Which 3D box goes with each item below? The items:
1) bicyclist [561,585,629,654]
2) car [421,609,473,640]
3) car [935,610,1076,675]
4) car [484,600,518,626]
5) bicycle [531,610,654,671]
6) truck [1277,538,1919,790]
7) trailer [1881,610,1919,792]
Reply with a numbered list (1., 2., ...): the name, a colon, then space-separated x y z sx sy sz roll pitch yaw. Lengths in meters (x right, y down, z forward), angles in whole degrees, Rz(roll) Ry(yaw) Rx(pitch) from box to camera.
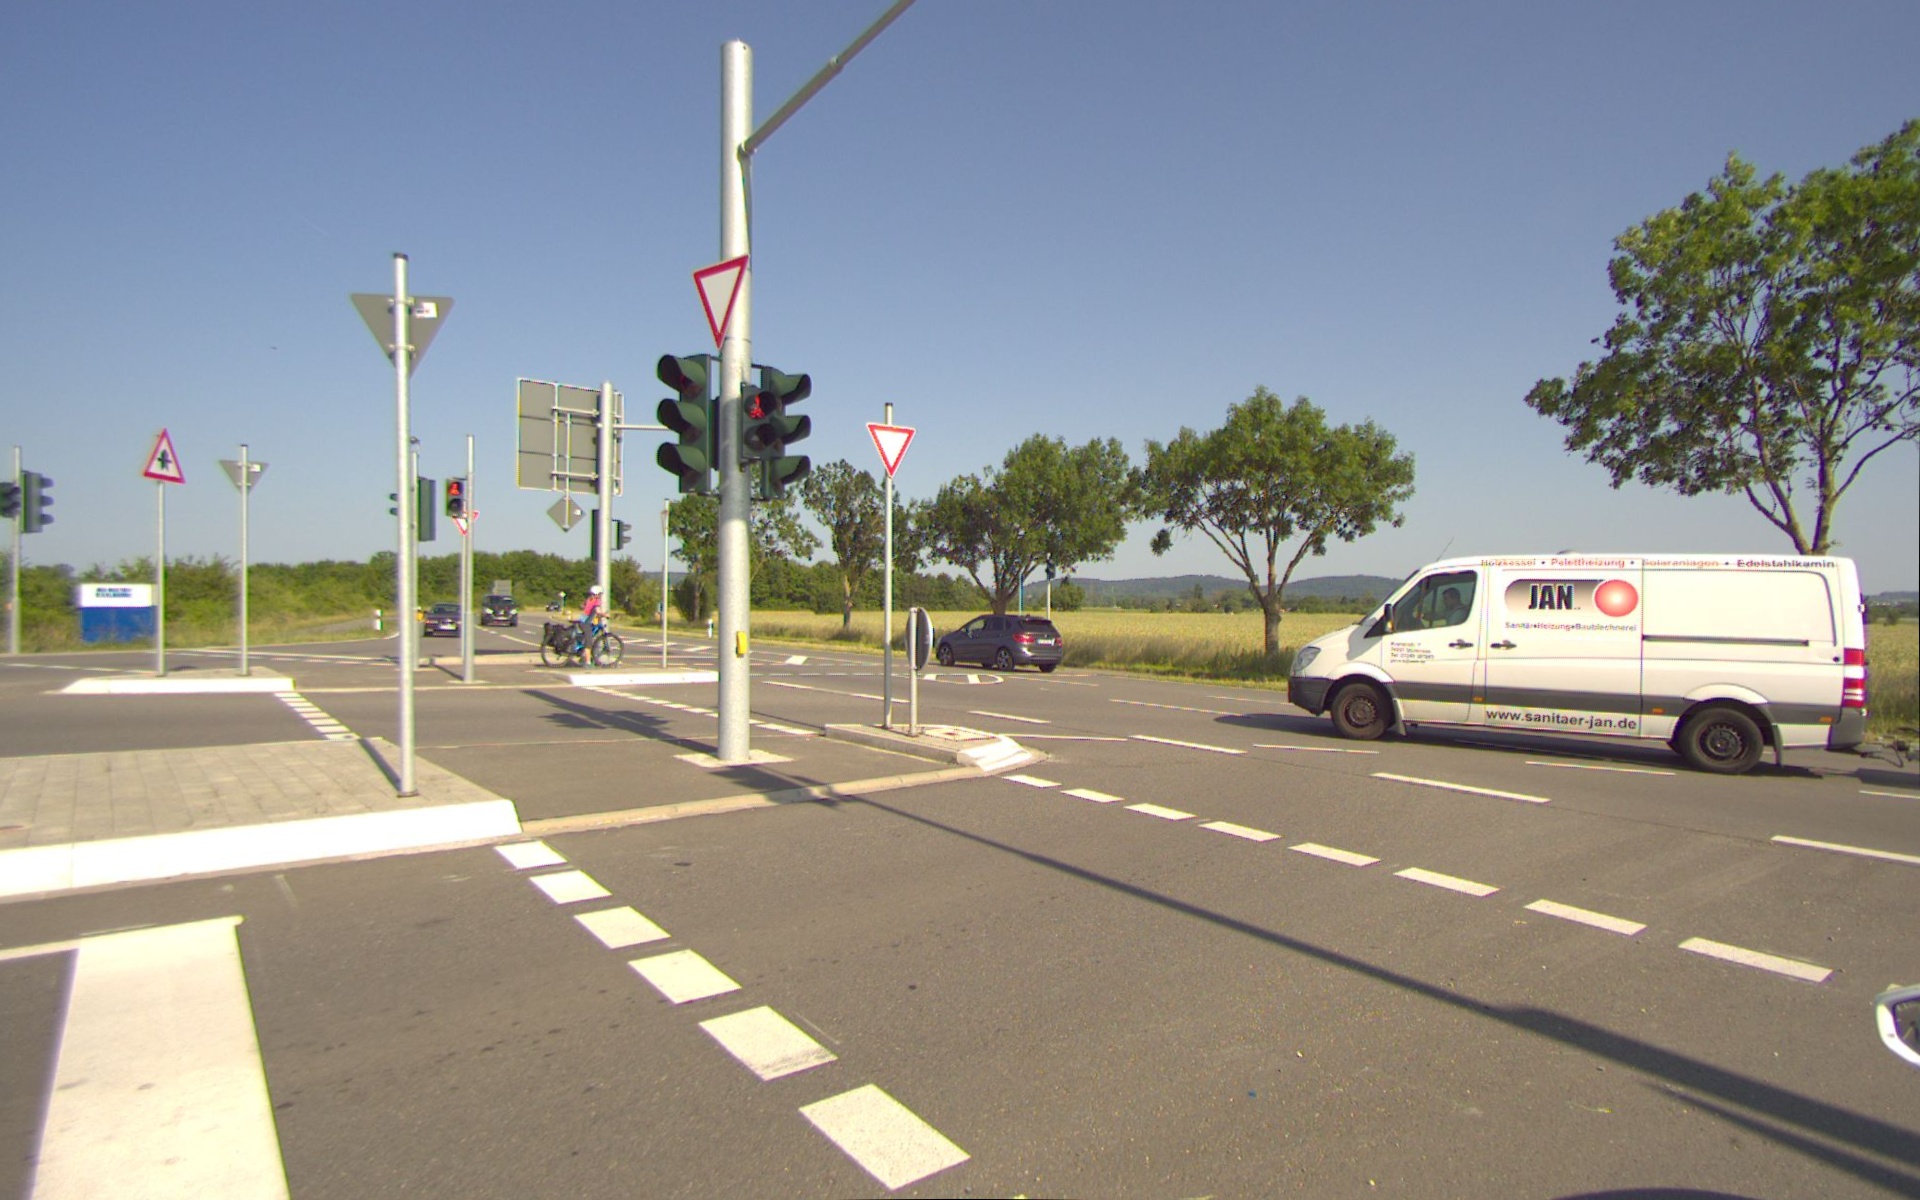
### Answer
1. bicyclist: -7.598 0.413 20.902 1.065 1.369 0.849 3 -1 -39
2. car: -20.260 0.956 39.724 1.718 1.127 3.972 3 -2 -27
3. car: 1.233 1.168 28.544 1.874 1.646 3.957 4 -2 -37
4. car: -29.541 0.827 64.589 1.838 1.562 3.974 2 -1 -26
5. bicycle: -7.617 0.850 20.862 2.132 1.164 1.062 3 -1 -39
6. truck: 7.202 0.583 12.127 6.088 2.436 2.067 1 -1 30
7. trailer: 11.618 1.045 8.955 4.939 1.761 1.971 1 -1 42
